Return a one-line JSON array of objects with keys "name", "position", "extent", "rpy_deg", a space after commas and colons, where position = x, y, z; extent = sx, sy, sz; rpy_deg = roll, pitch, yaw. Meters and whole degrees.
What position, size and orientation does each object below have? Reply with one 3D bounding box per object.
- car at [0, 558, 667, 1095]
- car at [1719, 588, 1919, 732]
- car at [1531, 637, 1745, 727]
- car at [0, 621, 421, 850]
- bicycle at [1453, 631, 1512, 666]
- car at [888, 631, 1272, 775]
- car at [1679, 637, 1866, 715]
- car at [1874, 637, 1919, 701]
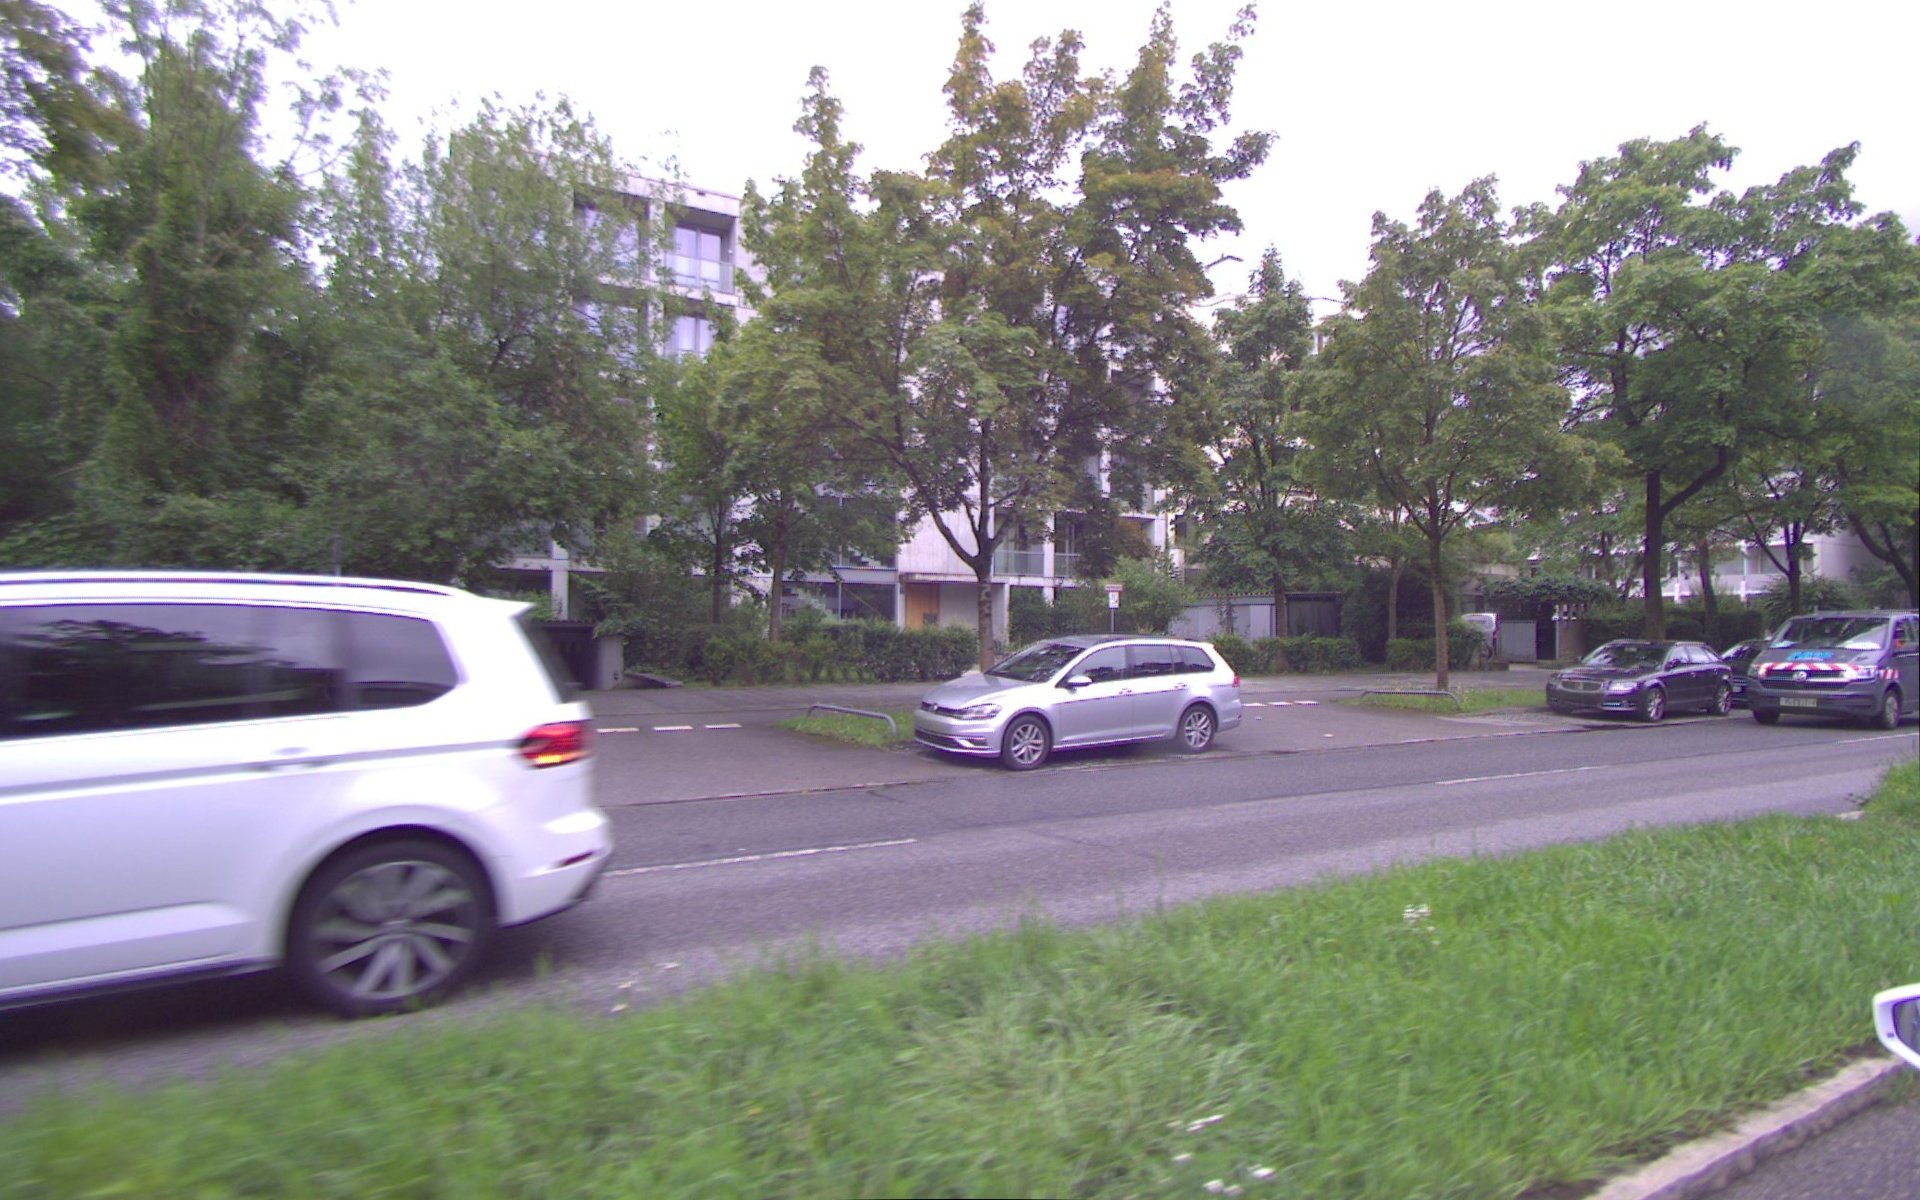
[{"name": "car", "position": [-3.516, 0.727, 3.870], "extent": [4.298, 1.664, 1.826], "rpy_deg": [1, -2, -30]}, {"name": "car", "position": [16.306, 1.037, 18.001], "extent": [5.730, 2.222, 2.200], "rpy_deg": [1, -3, -30]}, {"name": "car", "position": [12.768, 1.464, 18.868], "extent": [4.311, 1.442, 1.573], "rpy_deg": [1, 1, -30]}, {"name": "car", "position": [-6.776, 0.968, 7.931], "extent": [4.420, 1.550, 1.731], "rpy_deg": [1, 0, -29]}, {"name": "bicycle", "position": [19.023, 1.742, 36.617], "extent": [0.527, 1.243, 1.840], "rpy_deg": [1, -2, -39]}, {"name": "car", "position": [1.610, 1.185, 12.799], "extent": [4.765, 1.468, 1.728], "rpy_deg": [1, 1, -30]}, {"name": "car", "position": [17.470, 1.570, 21.568], "extent": [4.139, 1.442, 1.619], "rpy_deg": [1, 1, -28]}, {"name": "car", "position": [26.182, 1.795, 26.415], "extent": [4.974, 1.545, 1.708], "rpy_deg": [1, 1, -30]}]
